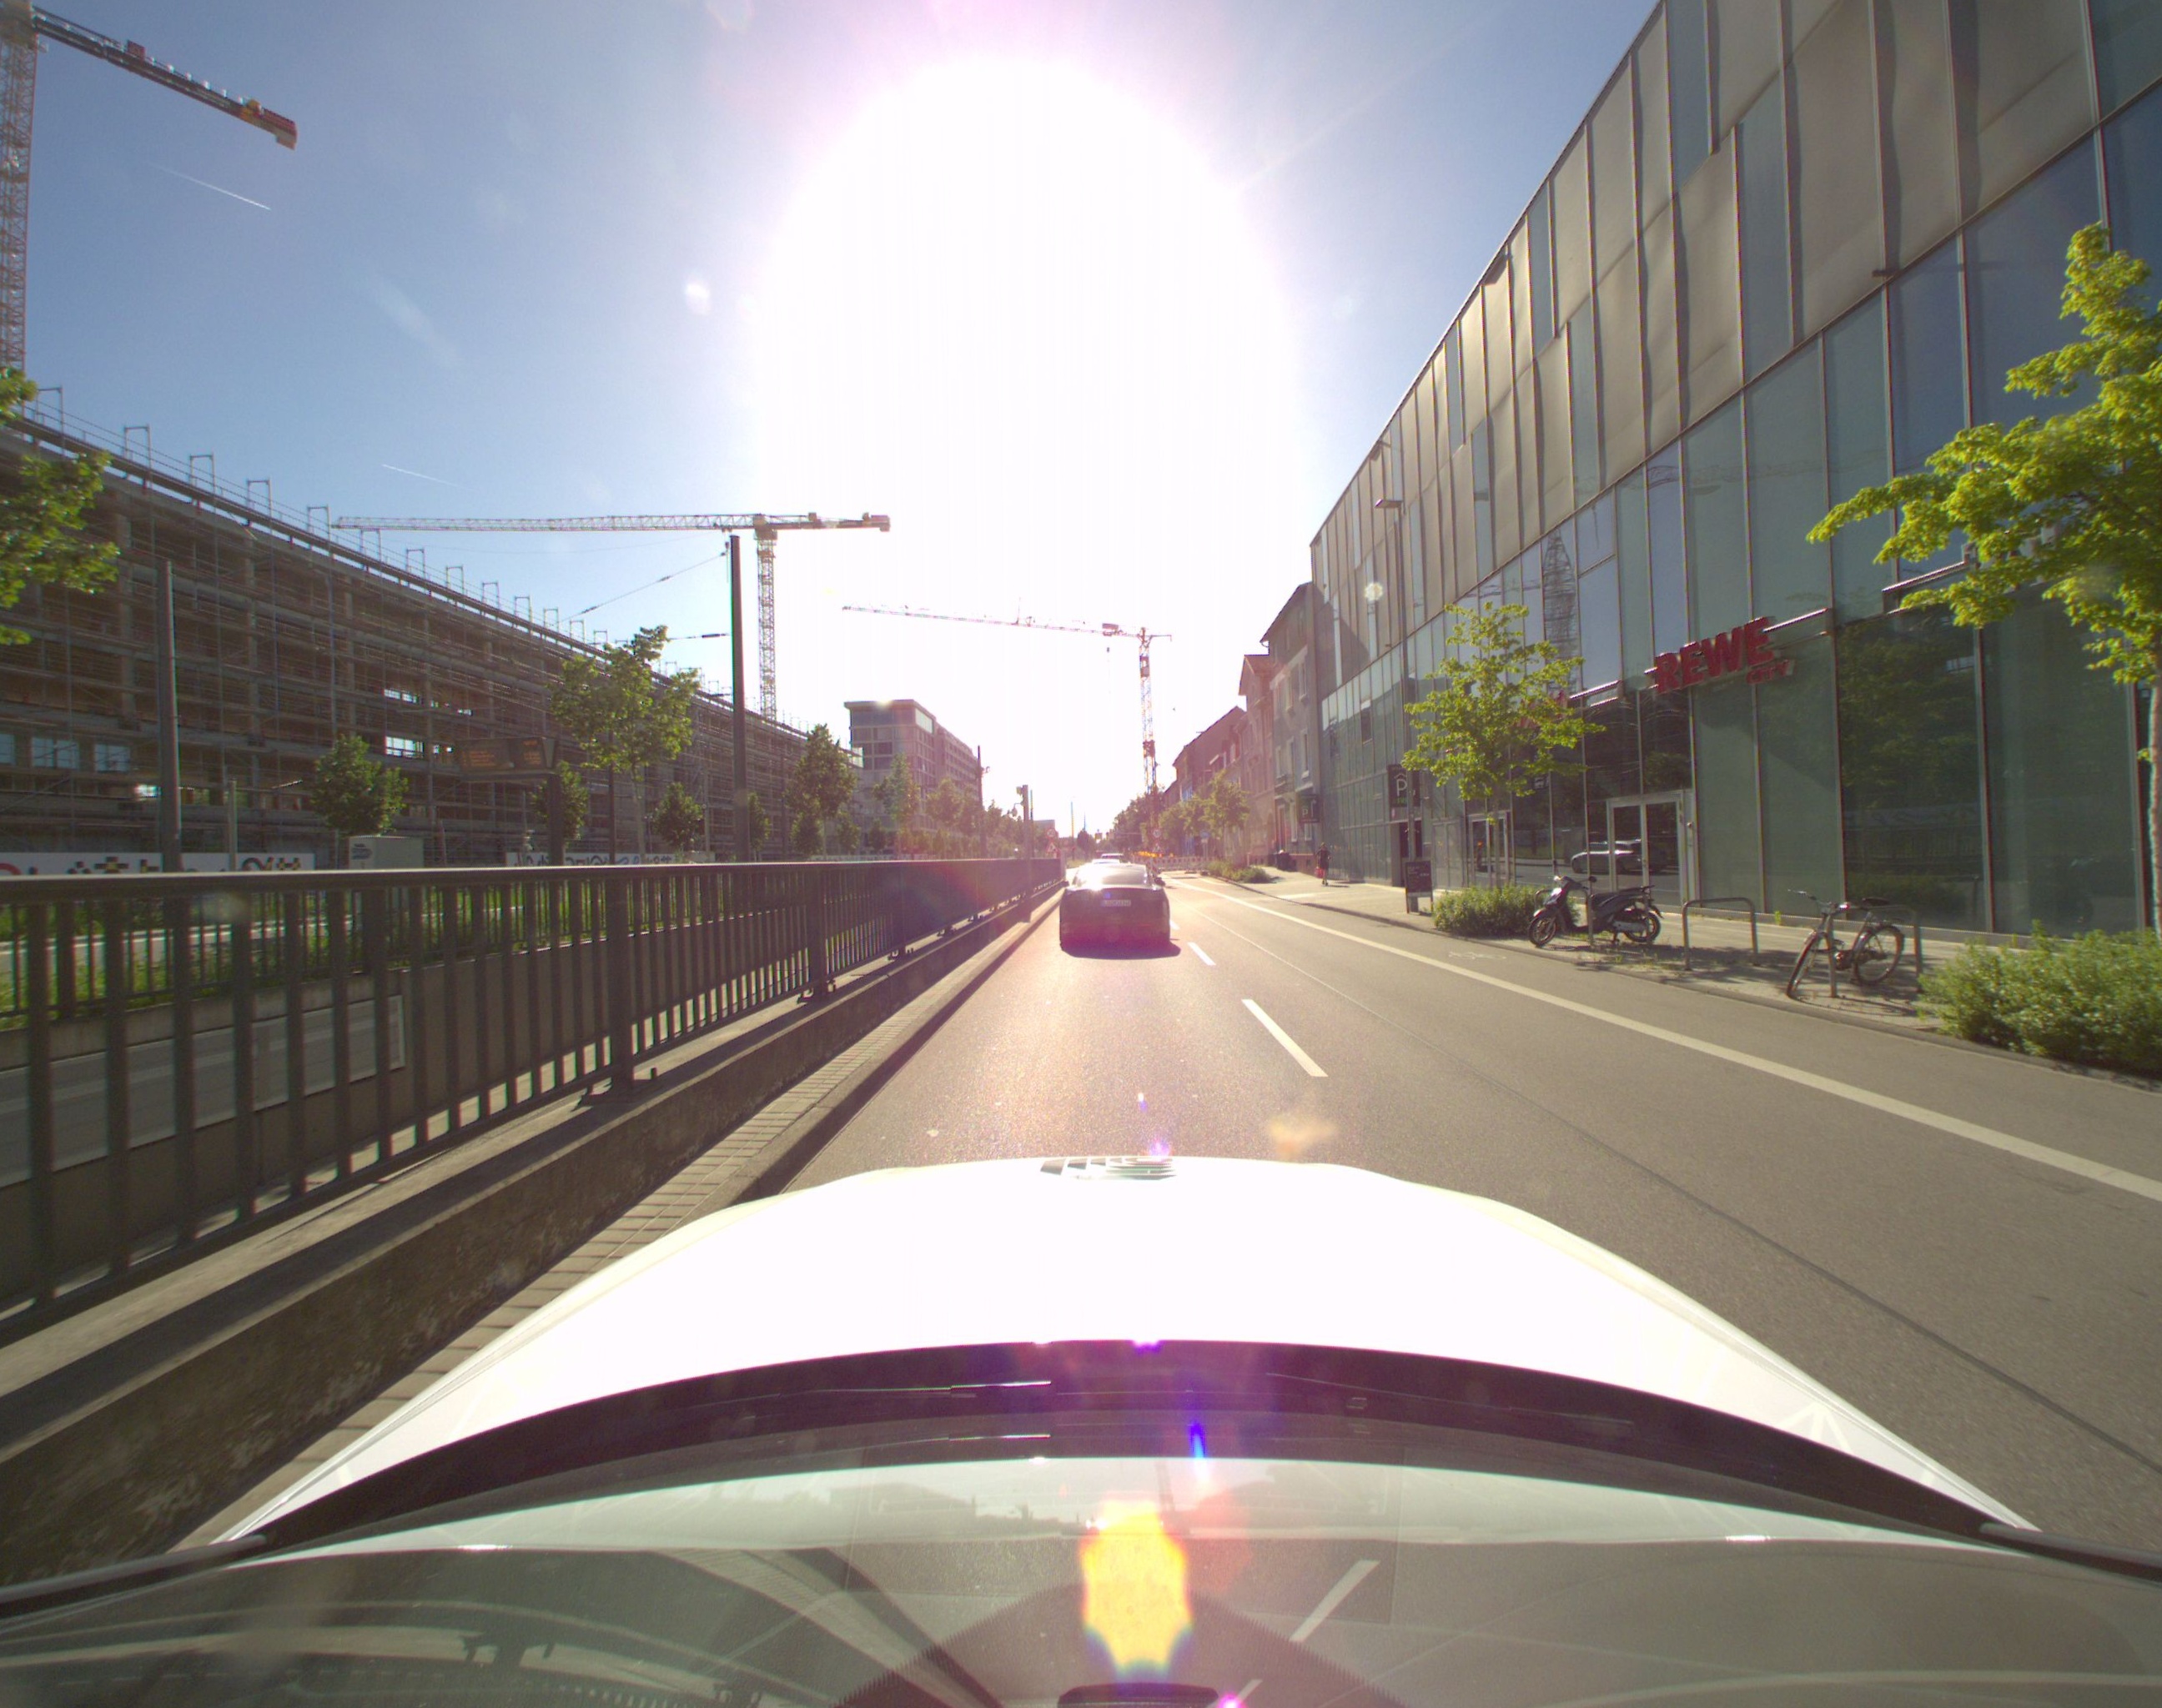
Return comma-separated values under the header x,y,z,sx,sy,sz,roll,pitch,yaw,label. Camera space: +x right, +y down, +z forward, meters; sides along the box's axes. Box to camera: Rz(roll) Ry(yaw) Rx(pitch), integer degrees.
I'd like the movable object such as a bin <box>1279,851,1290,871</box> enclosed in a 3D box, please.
x,y,z,sx,sy,sz,roll,pitch,yaw,label
12.301,0.434,49.194,0.556,1.169,0.563,-1,-1,6,movable object such as a bin

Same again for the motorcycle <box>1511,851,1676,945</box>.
x,y,z,sx,sy,sz,roll,pitch,yaw,label
8.079,0.707,12.959,2.054,1.353,0.656,-5,-1,25,motorcycle

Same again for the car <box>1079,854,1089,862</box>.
x,y,z,sx,sy,sz,roll,pitch,yaw,label
0.691,0.900,173.721,1.986,1.684,4.001,0,-1,1,car

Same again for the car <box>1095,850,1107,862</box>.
x,y,z,sx,sy,sz,roll,pitch,yaw,label
3.405,0.311,137.394,1.806,1.809,4.042,-2,0,3,car

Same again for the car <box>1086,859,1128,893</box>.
x,y,z,sx,sy,sz,roll,pitch,yaw,label
1.199,0.944,36.139,1.709,1.320,4.003,-2,0,3,car

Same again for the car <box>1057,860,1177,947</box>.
x,y,z,sx,sy,sz,roll,pitch,yaw,label
0.678,0.849,15.945,1.992,1.434,4.414,-1,0,2,car

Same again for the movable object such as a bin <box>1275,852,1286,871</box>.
x,y,z,sx,sy,sz,roll,pitch,yaw,label
12.253,0.443,50.044,0.556,1.169,0.563,-1,-1,6,movable object such as a bin

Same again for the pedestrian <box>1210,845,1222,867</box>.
x,y,z,sx,sy,sz,roll,pitch,yaw,label
11.862,0.144,71.379,0.848,1.863,0.930,-2,-1,1,pedestrian

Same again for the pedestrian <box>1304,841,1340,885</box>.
x,y,z,sx,sy,sz,roll,pitch,yaw,label
10.658,0.411,36.092,1.091,1.863,1.523,-2,0,1,pedestrian

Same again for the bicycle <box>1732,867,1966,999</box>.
x,y,z,sx,sy,sz,roll,pitch,yaw,label
7.818,0.766,8.321,1.880,1.151,0.669,-4,0,-8,bicycle

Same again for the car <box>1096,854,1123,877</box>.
x,y,z,sx,sy,sz,roll,pitch,yaw,label
2.065,0.782,58.472,1.777,1.546,4.042,-2,0,3,car
